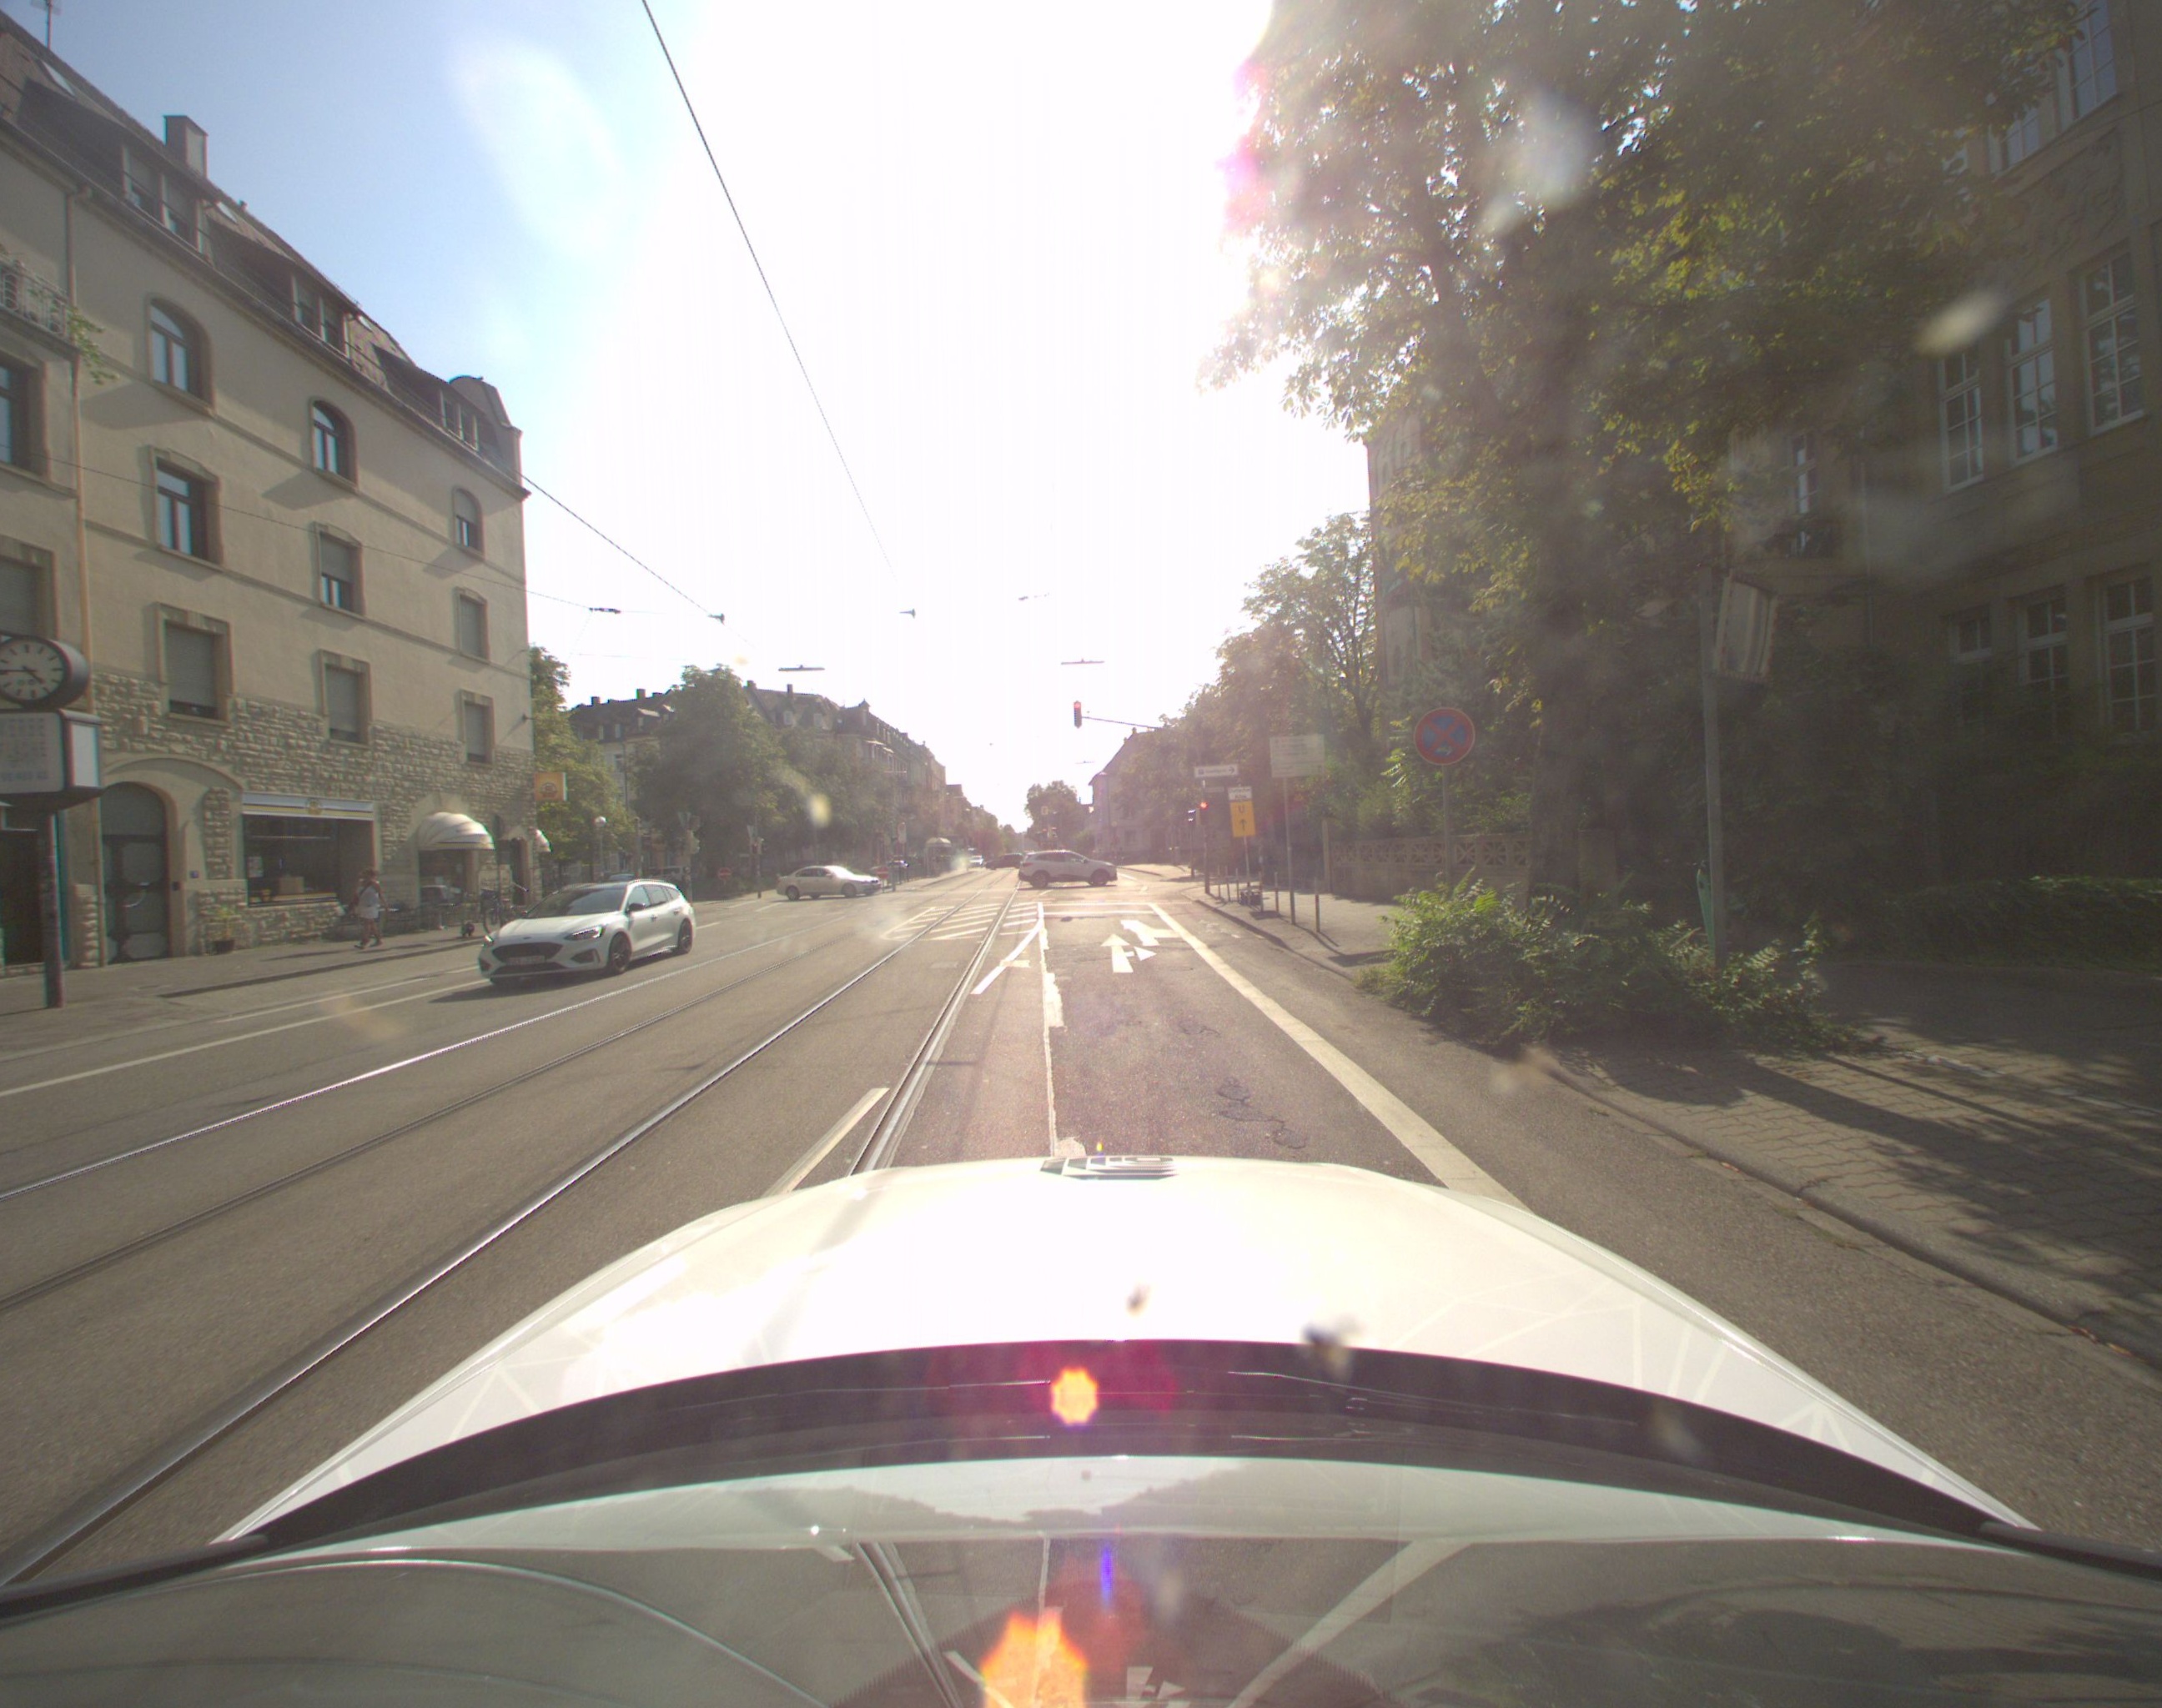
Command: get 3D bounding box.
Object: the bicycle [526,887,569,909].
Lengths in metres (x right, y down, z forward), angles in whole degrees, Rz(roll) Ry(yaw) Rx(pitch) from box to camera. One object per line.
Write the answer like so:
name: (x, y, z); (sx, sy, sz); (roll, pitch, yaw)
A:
bicycle: (-24.669, 2.010, 37.689); (0.473, 0.920, 1.619); (-3, -1, 27)

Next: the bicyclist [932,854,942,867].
bicyclist: (-15.279, 0.647, 86.352); (0.816, 1.328, 0.548); (-3, 0, -1)

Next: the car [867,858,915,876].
car: (-19.258, 1.333, 82.500); (4.343, 1.569, 1.984); (-3, 0, -24)

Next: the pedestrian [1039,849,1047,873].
pedestrian: (-2.750, 0.502, 59.154); (0.531, 1.759, 0.544); (0, 2, -2)

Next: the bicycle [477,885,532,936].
bicycle: (-15.232, 1.468, 21.570); (0.453, 1.226, 1.849); (-3, 0, -12)

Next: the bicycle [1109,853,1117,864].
bicycle: (2.955, 0.445, 75.159); (0.557, 0.978, 1.853); (-3, 0, -4)

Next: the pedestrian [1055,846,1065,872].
pedestrian: (-1.455, 0.343, 57.183); (0.707, 1.759, 0.533); (0, 2, -3)

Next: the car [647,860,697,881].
car: (-39.621, 1.618, 78.868); (3.954, 1.828, 2.010); (-3, 0, 18)

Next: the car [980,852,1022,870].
car: (-8.535, 0.717, 87.191); (4.313, 1.675, 1.997); (-3, 0, -4)

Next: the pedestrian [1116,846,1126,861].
pedestrian: (4.629, -0.051, 93.851); (0.884, 1.740, 0.780); (-3, 0, 18)

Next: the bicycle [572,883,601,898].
bicycle: (-35.764, 2.636, 58.888); (1.756, 0.978, 0.606); (-3, 0, 4)

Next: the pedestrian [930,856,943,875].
pedestrian: (-10.823, 0.876, 61.126); (0.827, 1.358, 0.774); (-3, 0, -7)

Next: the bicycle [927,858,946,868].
bicycle: (-15.293, 0.980, 86.354); (1.845, 0.958, 0.548); (-3, 0, -1)

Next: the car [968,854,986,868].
car: (-13.400, 0.922, 104.966); (1.797, 1.653, 3.640); (-3, 0, -2)

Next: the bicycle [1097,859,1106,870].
bicycle: (1.907, 0.986, 75.742); (0.628, 0.978, 1.767); (-3, 0, -4)

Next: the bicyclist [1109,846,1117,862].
bicyclist: (2.924, -0.027, 75.172); (0.557, 1.416, 0.870); (-3, 0, -4)

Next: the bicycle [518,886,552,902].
bicycle: (-36.366, 2.663, 54.233); (1.773, 0.978, 0.516); (-3, 0, -25)

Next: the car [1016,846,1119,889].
car: (-0.638, 0.593, 36.398); (4.318, 1.630, 1.993); (-3, 0, -10)

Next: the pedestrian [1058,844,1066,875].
pedestrian: (-1.133, 0.335, 48.297); (0.503, 1.833, 0.533); (0, 2, -3)

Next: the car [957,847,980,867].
car: (-16.456, 0.402, 119.293); (2.339, 2.661, 5.106); (-3, 0, 1)

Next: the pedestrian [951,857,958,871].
pedestrian: (-15.794, 1.208, 101.637); (0.747, 1.731, 0.771); (-3, 0, -1)

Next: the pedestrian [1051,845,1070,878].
pedestrian: (-1.108, 0.389, 44.030); (0.693, 1.725, 0.753); (1, 3, 30)

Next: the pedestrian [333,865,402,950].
pedestrian: (-16.368, 1.201, 18.703); (0.772, 1.859, 0.829); (-3, 0, -5)

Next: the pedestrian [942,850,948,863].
pedestrian: (-19.108, 0.345, 114.615); (0.750, 1.731, 0.768); (-3, 0, -12)

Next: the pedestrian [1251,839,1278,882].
pedestrian: (7.620, 0.273, 33.833); (0.750, 1.731, 0.768); (-3, 0, -12)

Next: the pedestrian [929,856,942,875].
pedestrian: (-10.755, 0.874, 60.153); (0.827, 1.358, 0.774); (-3, 0, -7)

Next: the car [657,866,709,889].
car: (-36.567, 2.161, 74.851); (3.954, 1.828, 2.010); (-3, 0, 18)

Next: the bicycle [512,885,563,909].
bicycle: (-25.772, 2.015, 38.649); (0.562, 1.003, 1.890); (-3, -1, 33)

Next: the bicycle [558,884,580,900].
bicycle: (-34.958, 2.617, 55.614); (0.423, 0.978, 1.768); (-3, 0, -3)

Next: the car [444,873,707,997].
car: (-8.177, 1.189, 13.789); (1.870, 1.454, 4.535); (-5, 1, -6)

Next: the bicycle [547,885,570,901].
bicycle: (-35.299, 2.628, 55.008); (0.423, 0.978, 1.768); (-3, 0, -3)

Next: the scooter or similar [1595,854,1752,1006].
scooter or similar: (5.193, 0.622, 7.209); (0.555, 1.197, 1.035); (-6, 0, 2)

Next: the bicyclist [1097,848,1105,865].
bicyclist: (1.877, 0.250, 75.740); (0.628, 1.507, 0.677); (-3, 0, -5)

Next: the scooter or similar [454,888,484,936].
scooter or similar: (-15.780, 1.489, 21.000); (1.021, 1.197, 0.369); (-3, 0, 41)

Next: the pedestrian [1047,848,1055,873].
pedestrian: (-2.129, 0.484, 57.768); (0.542, 1.759, 0.533); (0, 2, -3)

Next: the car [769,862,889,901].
car: (-11.281, 1.226, 36.547); (4.737, 1.466, 1.877); (-3, 0, 13)
